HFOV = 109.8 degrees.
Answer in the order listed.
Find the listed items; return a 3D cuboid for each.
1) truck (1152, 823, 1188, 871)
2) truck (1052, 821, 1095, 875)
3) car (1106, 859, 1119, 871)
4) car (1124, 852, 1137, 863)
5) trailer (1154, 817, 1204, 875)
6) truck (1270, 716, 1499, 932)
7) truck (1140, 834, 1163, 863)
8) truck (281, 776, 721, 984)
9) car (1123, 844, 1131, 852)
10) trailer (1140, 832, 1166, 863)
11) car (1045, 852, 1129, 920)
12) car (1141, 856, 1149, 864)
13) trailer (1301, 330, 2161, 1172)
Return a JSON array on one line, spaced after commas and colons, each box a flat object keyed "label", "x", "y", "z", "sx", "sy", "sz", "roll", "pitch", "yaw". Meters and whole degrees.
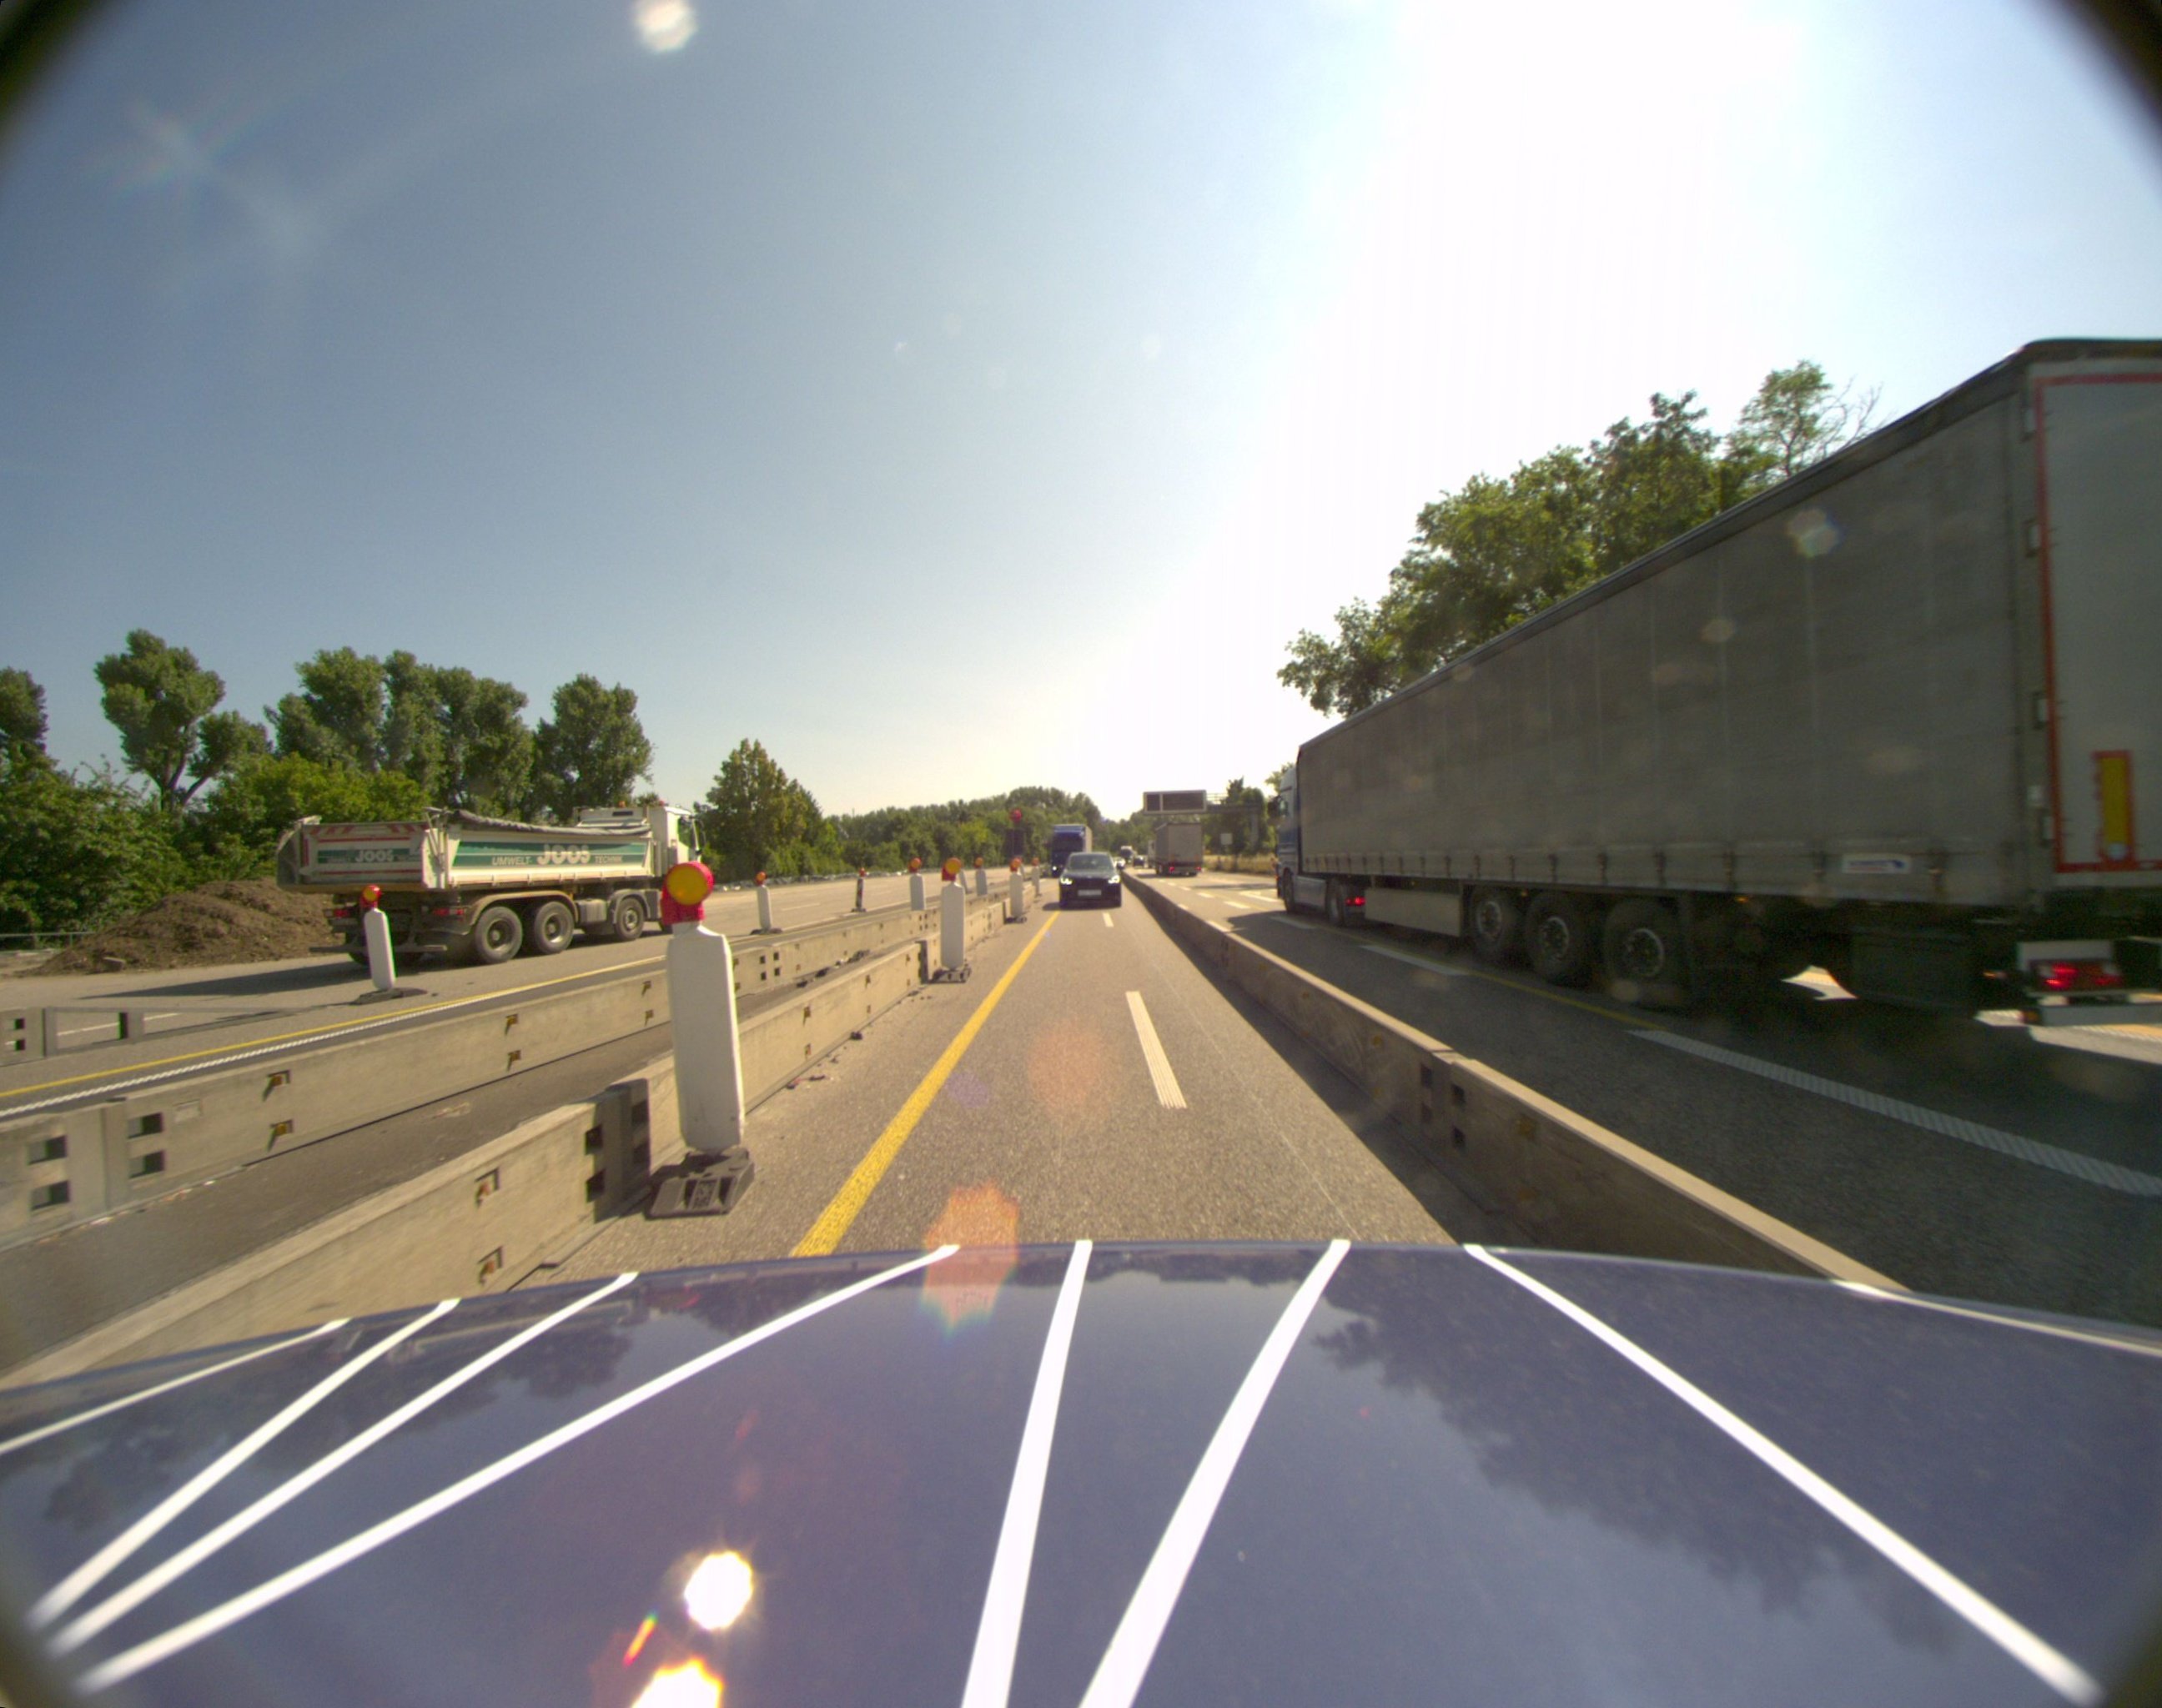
[{"label": "truck", "x": 7.933, "y": -0.632, "z": 68.589, "sx": 2.626, "sy": 4.103, "sz": 6.506, "roll": -1, "pitch": 1, "yaw": 2}, {"label": "truck", "x": -0.457, "y": -0.496, "z": 60.881, "sx": 2.860, "sy": 3.962, "sz": 8.666, "roll": -1, "pitch": 0, "yaw": 3}, {"label": "car", "x": 4.291, "y": 1.491, "z": 105.325, "sx": 1.747, "sy": 1.621, "sz": 4.093, "roll": -1, "pitch": 0, "yaw": 2}, {"label": "car", "x": 7.734, "y": 0.534, "z": 119.175, "sx": 1.747, "sy": 1.621, "sz": 4.373, "roll": -1, "pitch": 0, "yaw": 2}, {"label": "trailer", "x": 7.750, "y": -0.616, "z": 61.642, "sx": 2.626, "sy": 4.103, "sz": 14.068, "roll": -1, "pitch": 0, "yaw": 2}, {"label": "truck", "x": 6.414, "y": -0.541, "z": 17.167, "sx": 2.822, "sy": 3.967, "sz": 5.985, "roll": -1, "pitch": 0, "yaw": 1}, {"label": "truck", "x": 10.596, "y": -0.815, "z": 115.050, "sx": 3.052, "sy": 4.081, "sz": 7.644, "roll": -1, "pitch": 0, "yaw": 3}, {"label": "truck", "x": -11.725, "y": 0.410, "z": 16.991, "sx": 2.605, "sy": 3.413, "sz": 8.736, "roll": -1, "pitch": 0, "yaw": 4}, {"label": "car", "x": 10.162, "y": -1.369, "z": 167.772, "sx": 1.747, "sy": 1.621, "sz": 4.093, "roll": -1, "pitch": 0, "yaw": 4}, {"label": "trailer", "x": 10.147, "y": -0.888, "z": 108.183, "sx": 3.052, "sy": 4.081, "sz": 12.342, "roll": -1, "pitch": 0, "yaw": 3}, {"label": "car", "x": 0.290, "y": 0.841, "z": 22.404, "sx": 1.788, "sy": 1.651, "sz": 4.489, "roll": -4, "pitch": 0, "yaw": 8}, {"label": "car", "x": 16.485, "y": 1.572, "z": 196.709, "sx": 1.997, "sy": 2.002, "sz": 4.002, "roll": -1, "pitch": 0, "yaw": 6}, {"label": "trailer", "x": 6.258, "y": -0.492, "z": 10.352, "sx": 2.810, "sy": 4.019, "sz": 13.468, "roll": -1, "pitch": 0, "yaw": 1}]
